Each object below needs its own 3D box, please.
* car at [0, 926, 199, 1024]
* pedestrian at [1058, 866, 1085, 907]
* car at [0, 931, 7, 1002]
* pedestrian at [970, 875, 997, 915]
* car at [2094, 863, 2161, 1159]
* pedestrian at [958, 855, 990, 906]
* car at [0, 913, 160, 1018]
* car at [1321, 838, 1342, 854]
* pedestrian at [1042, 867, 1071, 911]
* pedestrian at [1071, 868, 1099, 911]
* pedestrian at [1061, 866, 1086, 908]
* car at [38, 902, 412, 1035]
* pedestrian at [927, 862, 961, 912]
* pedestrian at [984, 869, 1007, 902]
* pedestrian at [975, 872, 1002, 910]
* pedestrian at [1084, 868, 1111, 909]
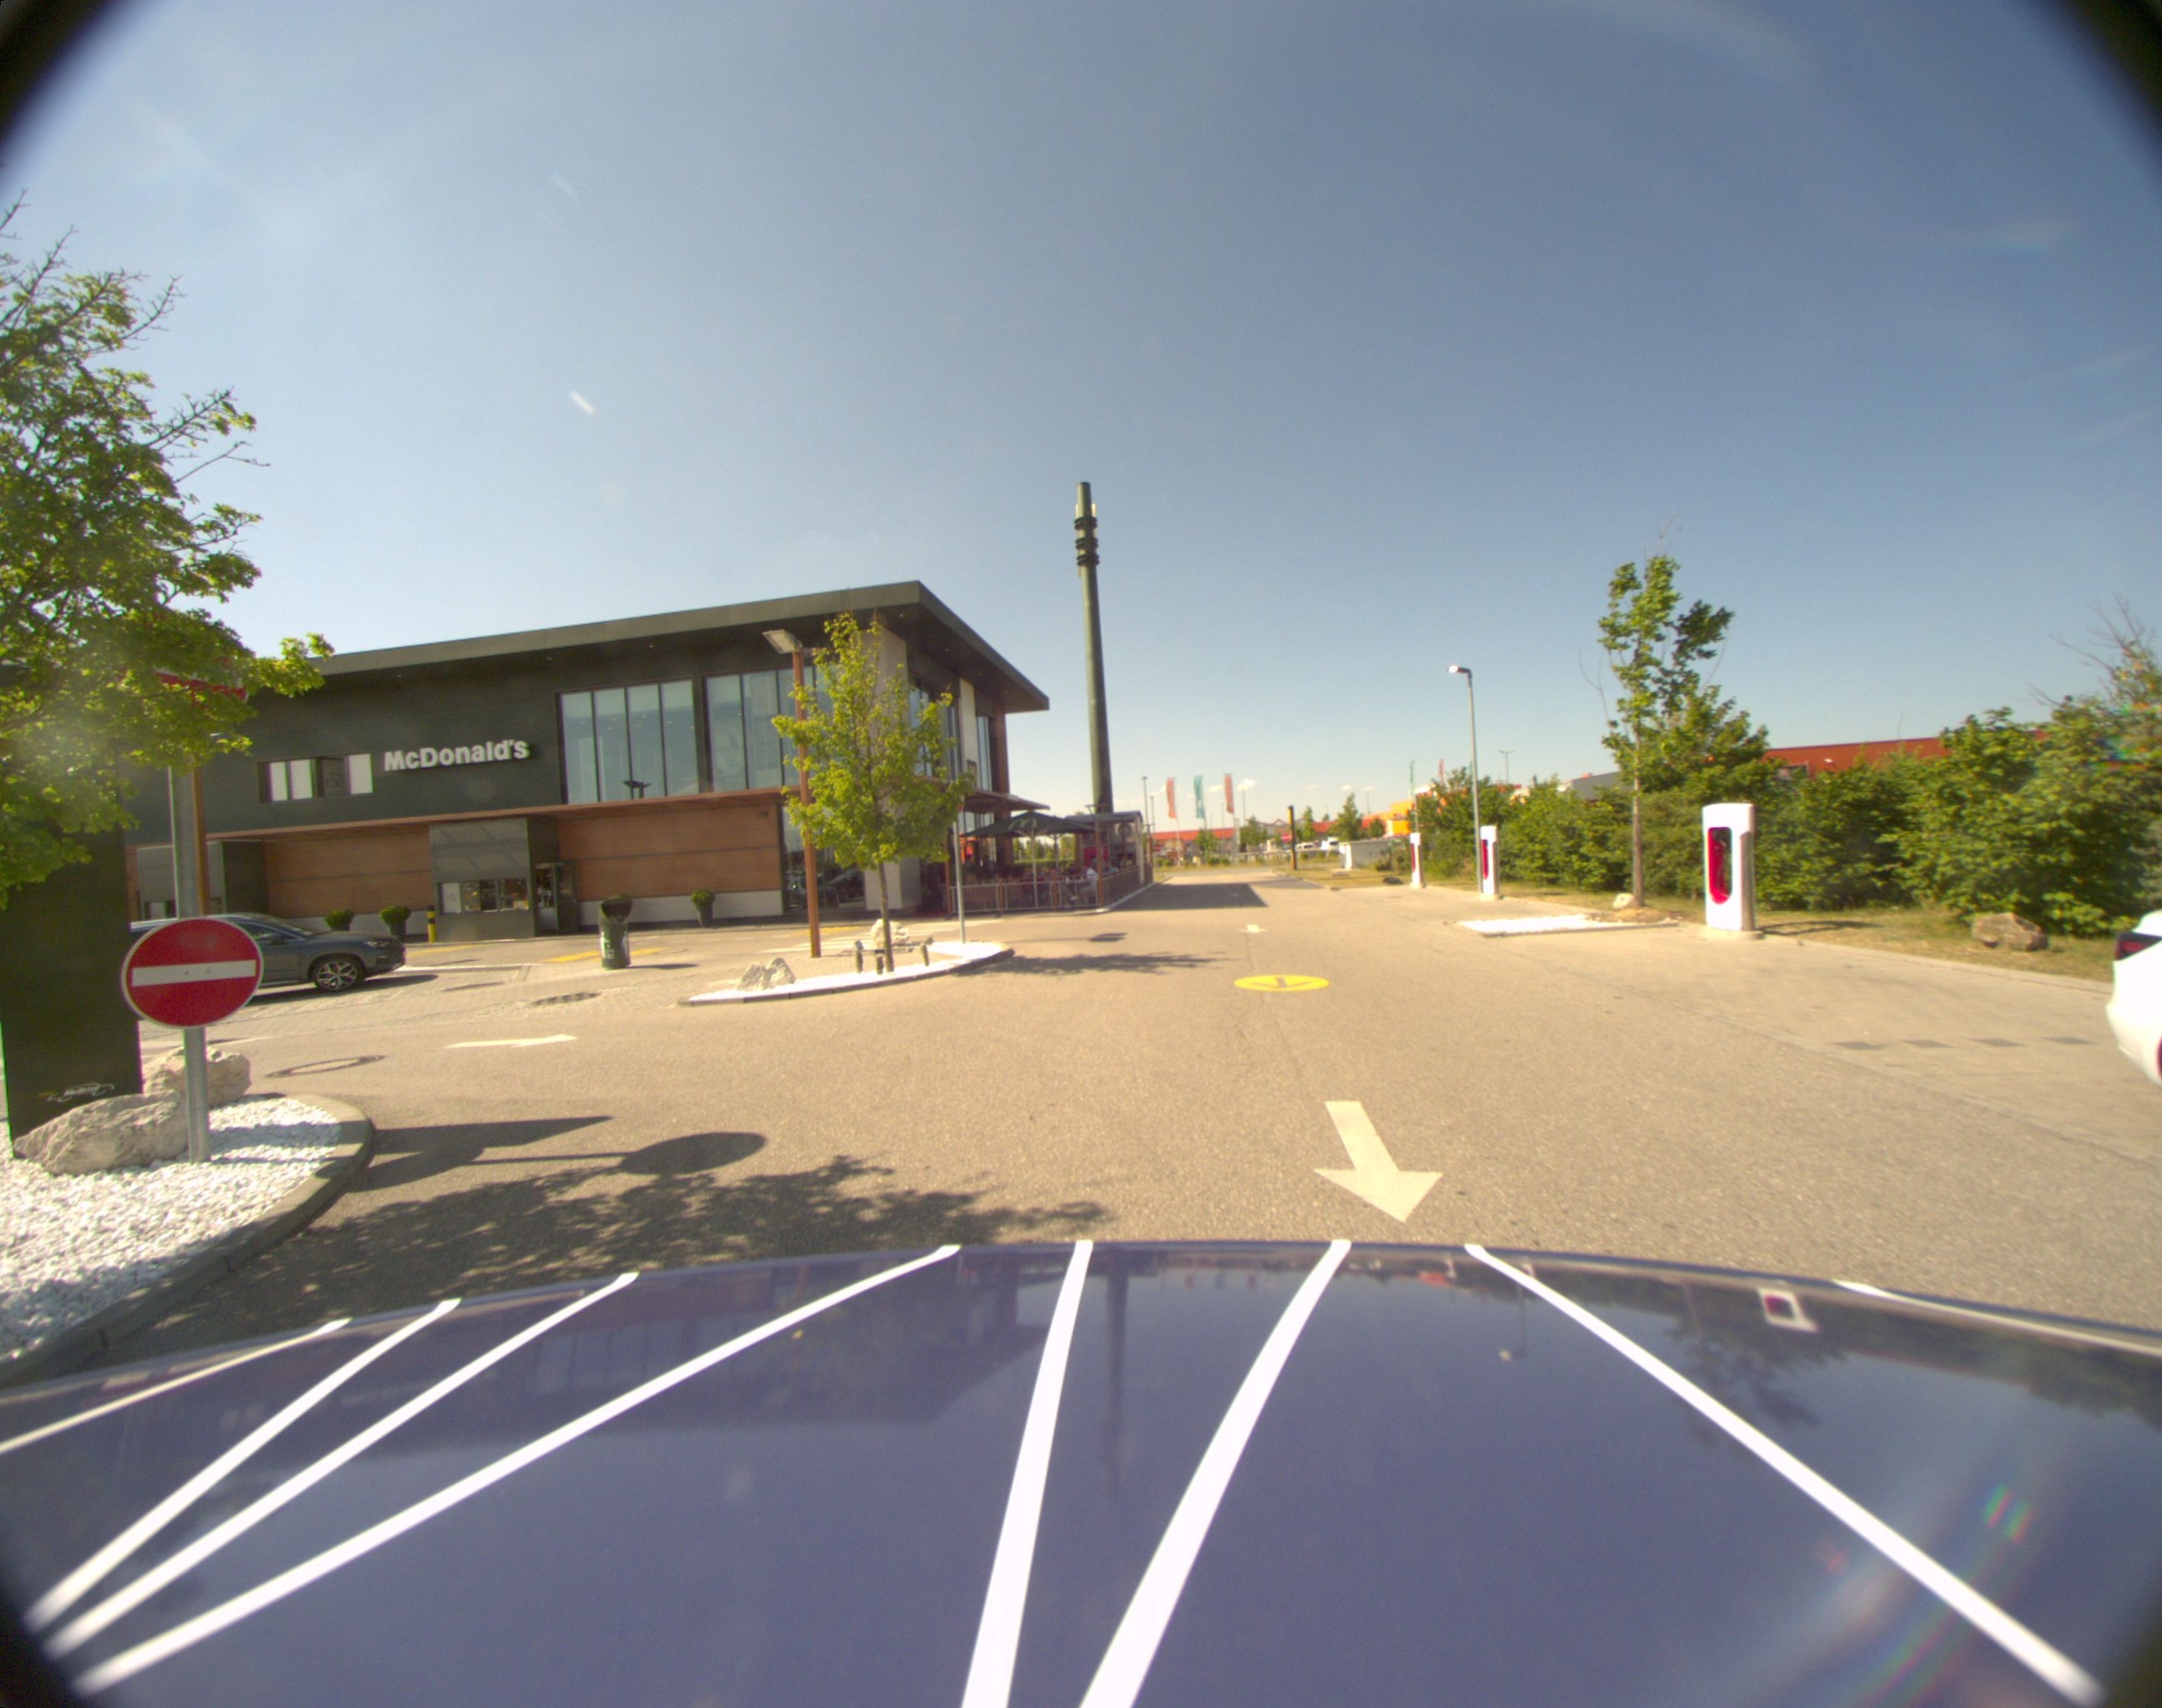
[{"bbox_3d":[-19.503,2.311,14.371,3.421,1.473,1.564,-4,0,-41],"label":"car"},{"bbox_3d":[-0.306,1.048,24.584,0.715,1.250,0.524,-4,0,6],"label":"pedestrian"},{"bbox_3d":[-26.115,2.660,15.954,1.754,1.622,3.851,-3,0,44],"label":"car"},{"bbox_3d":[-2.927,1.227,22.834,0.634,1.117,0.524,-4,0,6],"label":"pedestrian"},{"bbox_3d":[5.517,0.703,1.412,1.819,1.369,4.452,-3,0,11],"label":"car"},{"bbox_3d":[-3.854,0.954,27.450,0.896,1.758,0.803,-4,0,1],"label":"pedestrian"},{"bbox_3d":[-22.383,2.362,15.562,4.152,1.910,1.754,-3,0,-41],"label":"car"},{"bbox_3d":[33.622,-1.047,101.925,1.997,2.002,4.003,-3,0,10],"label":"car"},{"bbox_3d":[-0.723,1.035,22.728,0.715,1.250,0.524,-4,0,6],"label":"pedestrian"},{"bbox_3d":[0.132,1.062,23.034,0.729,1.250,0.573,-4,0,5],"label":"pedestrian"},{"bbox_3d":[-0.229,1.034,23.681,0.634,1.250,0.524,-4,0,6],"label":"pedestrian"},{"bbox_3d":[-15.529,1.974,14.224,4.233,1.594,1.786,-6,3,-36],"label":"car"},{"bbox_3d":[-4.498,1.090,25.000,0.740,1.574,0.730,-4,0,20],"label":"pedestrian"},{"bbox_3d":[-2.930,1.073,26.038,0.572,1.094,0.657,-4,0,9],"label":"pedestrian"},{"bbox_3d":[-2.857,1.142,23.502,0.634,1.117,0.524,-4,0,6],"label":"pedestrian"},{"bbox_3d":[0.535,1.095,24.415,0.729,1.250,0.573,-4,0,5],"label":"pedestrian"}]
